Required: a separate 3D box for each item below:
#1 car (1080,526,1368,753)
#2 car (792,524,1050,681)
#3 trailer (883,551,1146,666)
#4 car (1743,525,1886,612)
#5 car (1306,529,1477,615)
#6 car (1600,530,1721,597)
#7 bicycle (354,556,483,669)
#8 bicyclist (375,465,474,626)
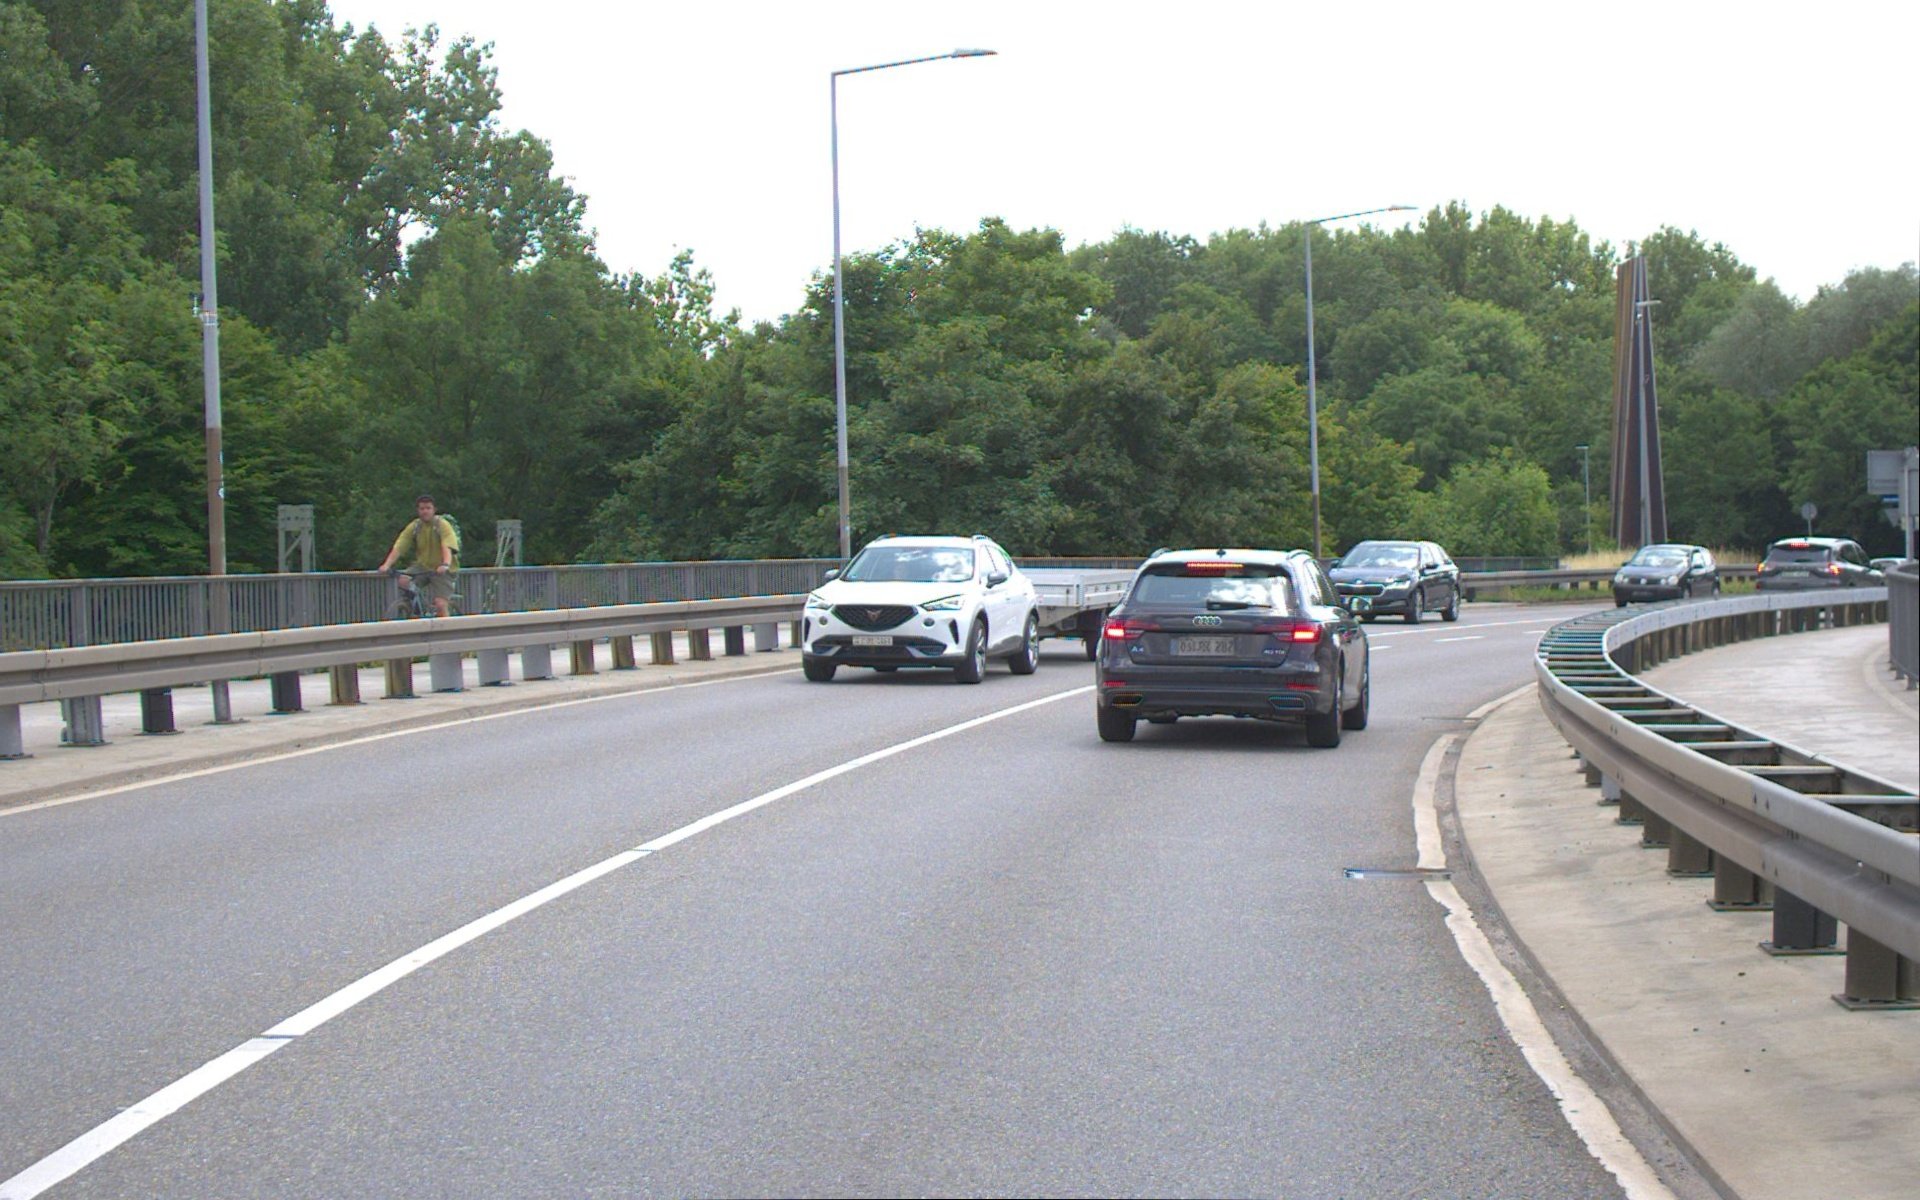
[{"bbox_3d":[2.109,0.232,26.429,1.828,1.486,4.206,1,3,9],"label":"car"},{"bbox_3d":[-0.343,-0.024,36.549,1.807,1.529,4.346,1,1,12],"label":"car"},{"bbox_3d":[0.763,0.049,41.605,2.046,1.205,5.980,1,1,12],"label":"trailer"},{"bbox_3d":[17.186,-0.648,69.028,1.824,1.646,3.850,2,2,29],"label":"car"},{"bbox_3d":[7.852,-0.538,62.230,1.819,1.446,4.731,2,2,23],"label":"car"},{"bbox_3d":[16.053,-0.853,78.628,1.817,1.447,3.921,2,2,25],"label":"car"},{"bbox_3d":[-5.432,0.110,34.616,0.769,1.091,2.115,0,1,6],"label":"bicycle"},{"bbox_3d":[-5.409,-0.551,34.758,0.767,1.597,0.947,0,1,6],"label":"bicyclist"}]
